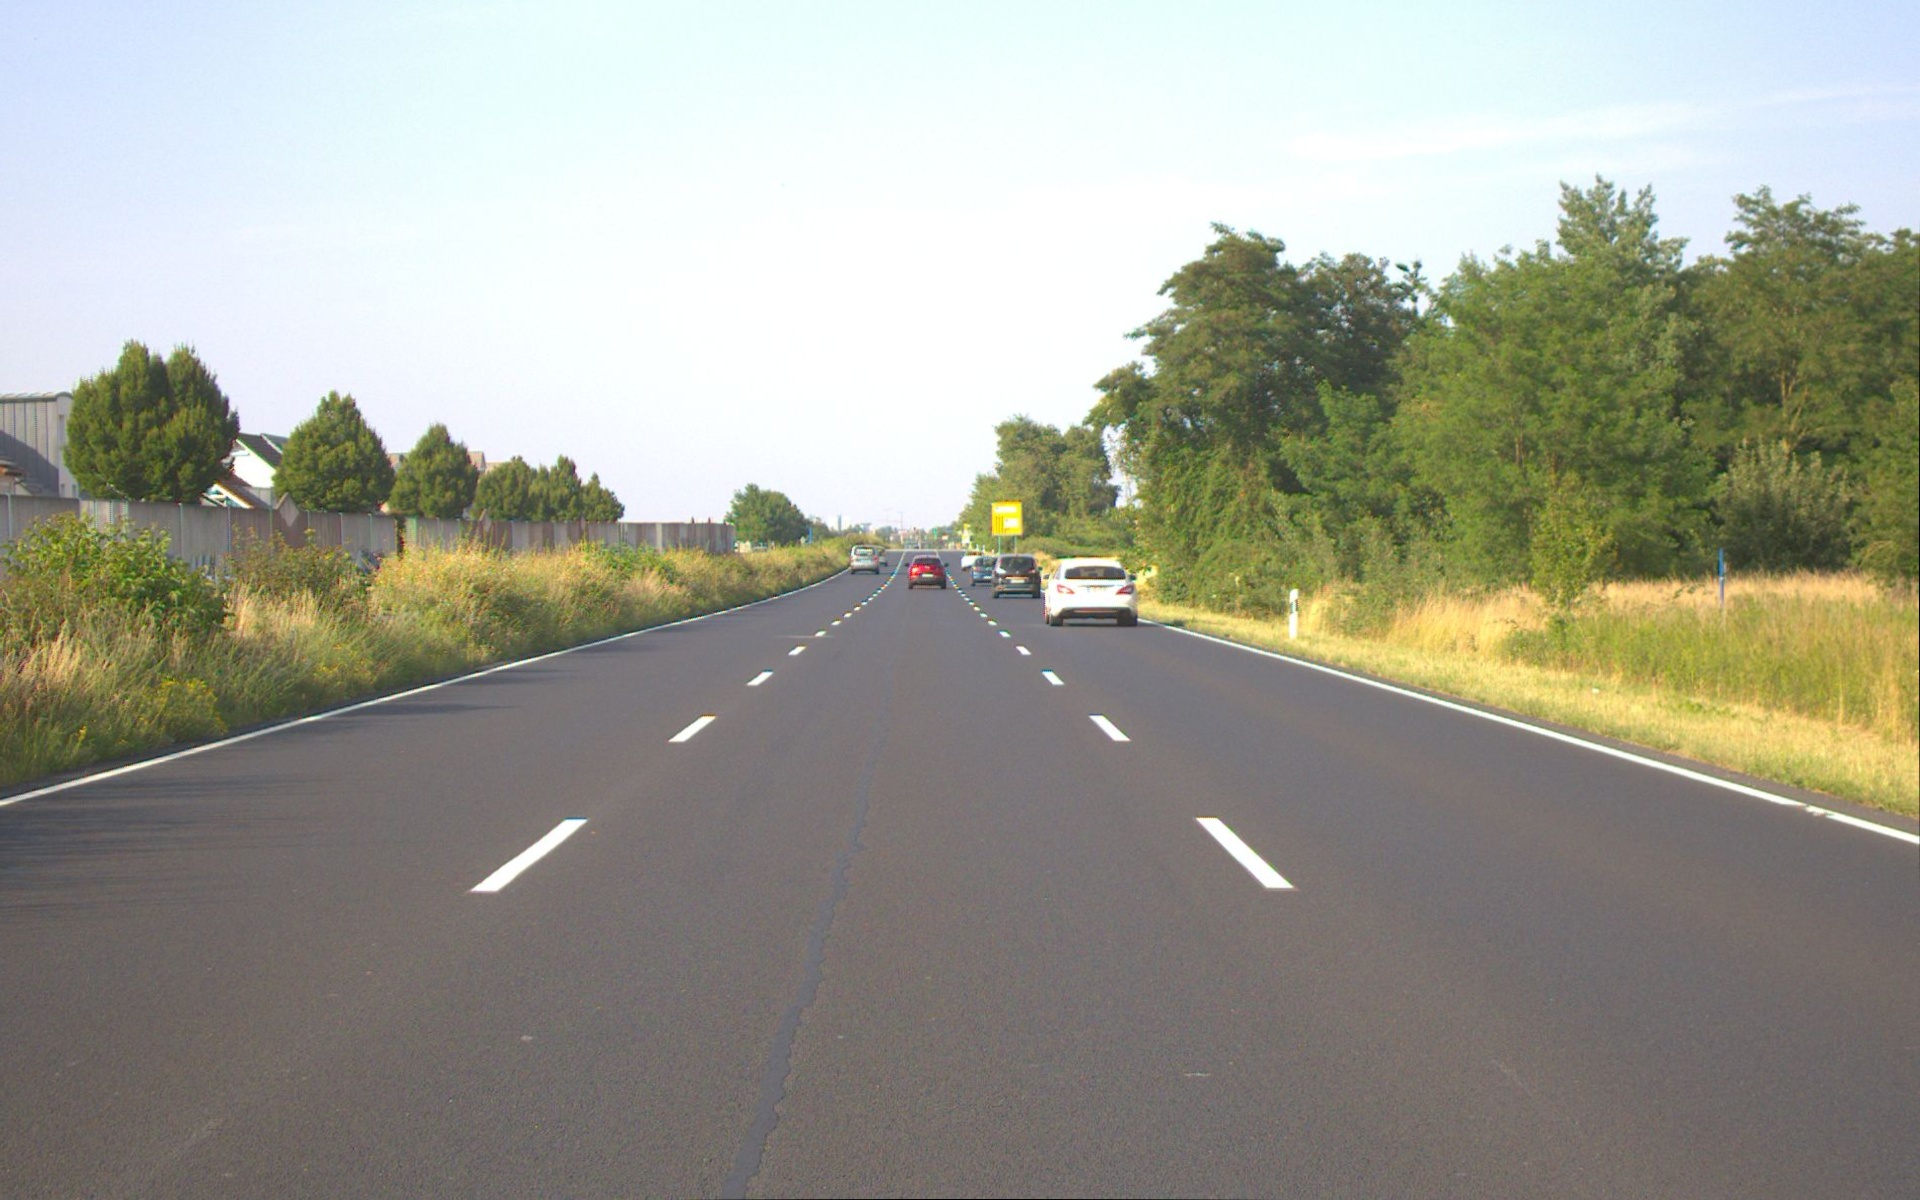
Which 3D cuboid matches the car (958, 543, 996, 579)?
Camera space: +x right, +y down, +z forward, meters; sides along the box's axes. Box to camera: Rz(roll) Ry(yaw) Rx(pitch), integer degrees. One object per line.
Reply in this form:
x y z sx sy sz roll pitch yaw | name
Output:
0.841 -1.934 171.305 1.834 1.711 3.862 1 0 0 | car

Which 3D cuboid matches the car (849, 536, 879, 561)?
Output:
-6.295 -3.391 226.289 1.758 1.612 4.000 1 0 1 | car

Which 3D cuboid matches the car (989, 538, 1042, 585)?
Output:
2.045 -1.434 128.175 1.828 1.722 4.000 1 0 -1 | car

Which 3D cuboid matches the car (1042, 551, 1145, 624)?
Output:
2.855 -0.282 74.246 1.993 1.511 4.000 1 0 -1 | car

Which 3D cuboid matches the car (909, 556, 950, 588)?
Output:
-1.418 -1.289 157.811 1.812 1.431 3.859 1 0 -1 | car
